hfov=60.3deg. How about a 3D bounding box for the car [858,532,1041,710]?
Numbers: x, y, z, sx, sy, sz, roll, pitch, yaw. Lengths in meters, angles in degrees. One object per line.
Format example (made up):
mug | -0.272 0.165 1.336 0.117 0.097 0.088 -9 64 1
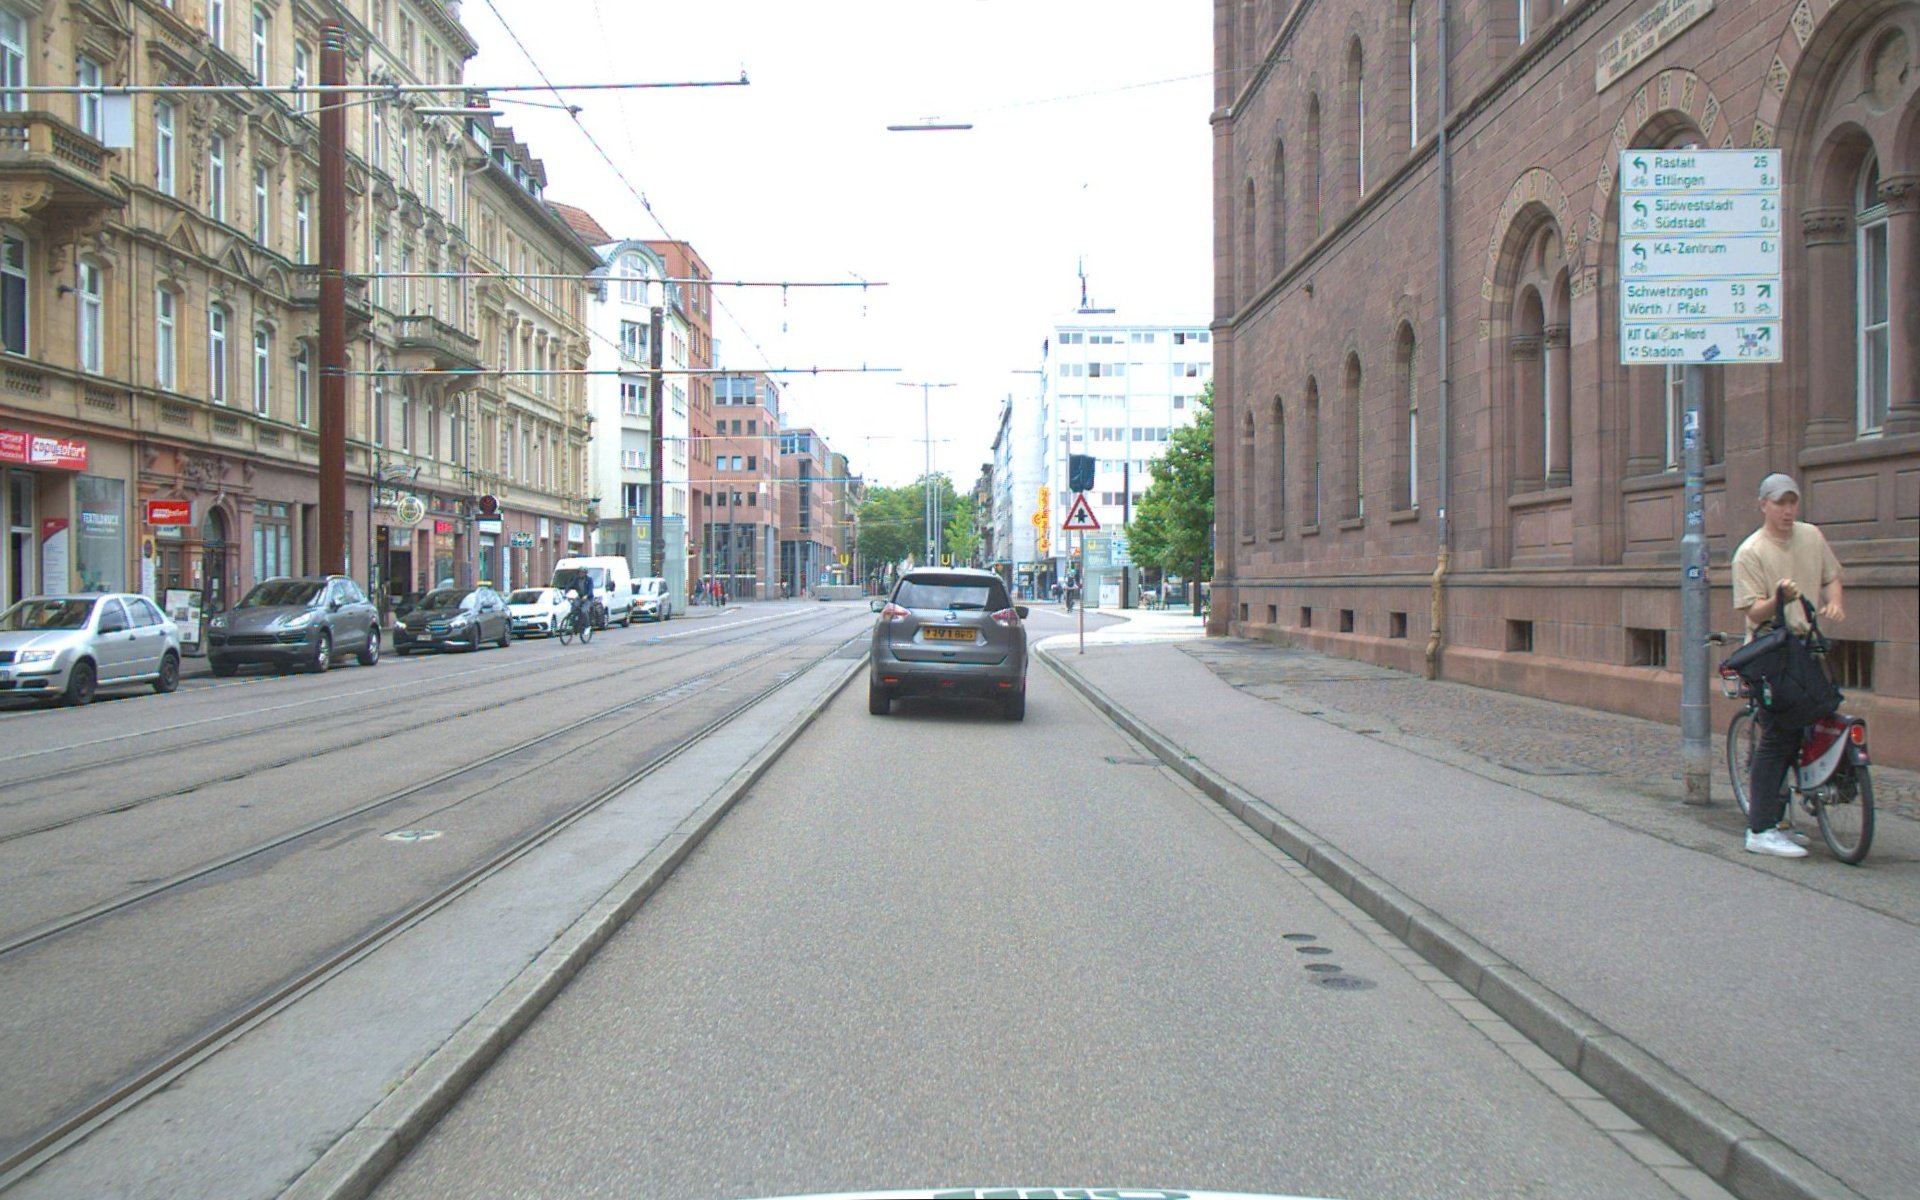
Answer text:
car | -0.005 0.215 20.216 1.824 1.805 4.569 4 1 3

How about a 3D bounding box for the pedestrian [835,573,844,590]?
pedestrian | -12.972 -2.011 178.055 0.685 1.874 0.735 1 0 18

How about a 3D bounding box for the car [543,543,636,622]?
car | -12.739 -0.610 57.192 2.011 2.530 5.664 -2 1 -2

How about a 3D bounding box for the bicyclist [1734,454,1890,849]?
bicyclist | 4.202 0.246 8.180 0.518 1.890 0.450 -1 0 -1

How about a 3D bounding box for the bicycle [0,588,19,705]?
bicycle | -12.210 0.579 19.174 2.235 1.352 0.521 -2 0 -1

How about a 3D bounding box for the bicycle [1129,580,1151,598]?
bicycle | 10.007 -0.603 91.769 0.645 0.995 1.752 0 1 27

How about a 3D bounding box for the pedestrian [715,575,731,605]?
pedestrian | -15.539 -0.662 108.429 0.878 1.923 0.798 1 -1 -3

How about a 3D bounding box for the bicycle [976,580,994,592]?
bicycle | 2.290 -1.260 152.271 1.663 1.084 0.437 1 0 -6

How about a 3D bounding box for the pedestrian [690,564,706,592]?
pedestrian | -15.967 -1.323 100.824 0.854 1.716 0.659 0 -1 -16

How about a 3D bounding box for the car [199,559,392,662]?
car | -12.199 0.134 30.746 1.777 1.719 5.028 -1 1 -3

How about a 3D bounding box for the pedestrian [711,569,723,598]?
pedestrian | -14.554 -0.970 99.050 0.648 1.716 0.720 0 -1 -13

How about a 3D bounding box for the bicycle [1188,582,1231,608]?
bicycle | 11.161 -0.216 74.016 1.873 1.142 0.646 1 0 10

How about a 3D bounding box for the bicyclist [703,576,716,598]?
bicyclist | -16.019 -0.825 105.811 0.794 1.431 0.480 -1 0 -7

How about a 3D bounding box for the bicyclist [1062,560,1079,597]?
bicyclist | 5.575 -1.085 83.717 0.817 1.844 0.878 1 0 2

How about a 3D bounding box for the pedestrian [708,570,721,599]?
pedestrian | -14.957 -0.931 100.774 0.707 1.716 0.660 0 -1 -11

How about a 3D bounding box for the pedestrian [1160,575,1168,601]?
pedestrian | 12.449 -0.731 100.978 0.424 1.583 0.499 1 0 -1

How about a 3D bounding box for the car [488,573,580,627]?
car | -12.634 -0.021 49.307 1.735 1.447 4.163 -2 1 -2

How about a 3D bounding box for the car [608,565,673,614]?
car | -13.018 -0.432 67.615 1.864 1.897 4.519 -2 1 -2

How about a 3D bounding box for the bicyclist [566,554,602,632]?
bicyclist | -9.426 -0.171 41.464 0.632 1.916 1.028 1 0 1

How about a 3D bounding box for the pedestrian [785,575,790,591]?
pedestrian | -16.978 -1.662 162.797 0.442 1.559 0.519 1 0 -18

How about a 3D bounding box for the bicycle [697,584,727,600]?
bicycle | -15.885 -0.527 105.832 1.870 1.039 0.480 -1 0 -8

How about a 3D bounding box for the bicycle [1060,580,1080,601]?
bicycle | 5.594 -0.480 84.271 0.883 1.063 3.278 0 0 2

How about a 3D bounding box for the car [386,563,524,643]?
car | -12.030 0.042 39.757 1.881 1.718 5.050 -2 1 -2

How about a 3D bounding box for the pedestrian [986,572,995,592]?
pedestrian | 2.808 -1.656 151.730 0.718 1.776 0.662 1 0 -9

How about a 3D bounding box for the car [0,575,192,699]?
car | -12.167 0.435 22.442 1.708 1.514 3.919 -1 1 -2

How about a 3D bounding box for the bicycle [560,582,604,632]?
bicycle | -9.453 0.155 41.379 0.573 1.194 2.045 -2 0 1

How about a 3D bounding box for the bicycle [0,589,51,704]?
bicycle | -12.264 0.583 19.895 2.235 1.352 0.666 -2 1 -1

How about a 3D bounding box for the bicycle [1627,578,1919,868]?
bicycle | 4.172 0.543 8.597 0.436 1.298 2.226 -2 1 -1
